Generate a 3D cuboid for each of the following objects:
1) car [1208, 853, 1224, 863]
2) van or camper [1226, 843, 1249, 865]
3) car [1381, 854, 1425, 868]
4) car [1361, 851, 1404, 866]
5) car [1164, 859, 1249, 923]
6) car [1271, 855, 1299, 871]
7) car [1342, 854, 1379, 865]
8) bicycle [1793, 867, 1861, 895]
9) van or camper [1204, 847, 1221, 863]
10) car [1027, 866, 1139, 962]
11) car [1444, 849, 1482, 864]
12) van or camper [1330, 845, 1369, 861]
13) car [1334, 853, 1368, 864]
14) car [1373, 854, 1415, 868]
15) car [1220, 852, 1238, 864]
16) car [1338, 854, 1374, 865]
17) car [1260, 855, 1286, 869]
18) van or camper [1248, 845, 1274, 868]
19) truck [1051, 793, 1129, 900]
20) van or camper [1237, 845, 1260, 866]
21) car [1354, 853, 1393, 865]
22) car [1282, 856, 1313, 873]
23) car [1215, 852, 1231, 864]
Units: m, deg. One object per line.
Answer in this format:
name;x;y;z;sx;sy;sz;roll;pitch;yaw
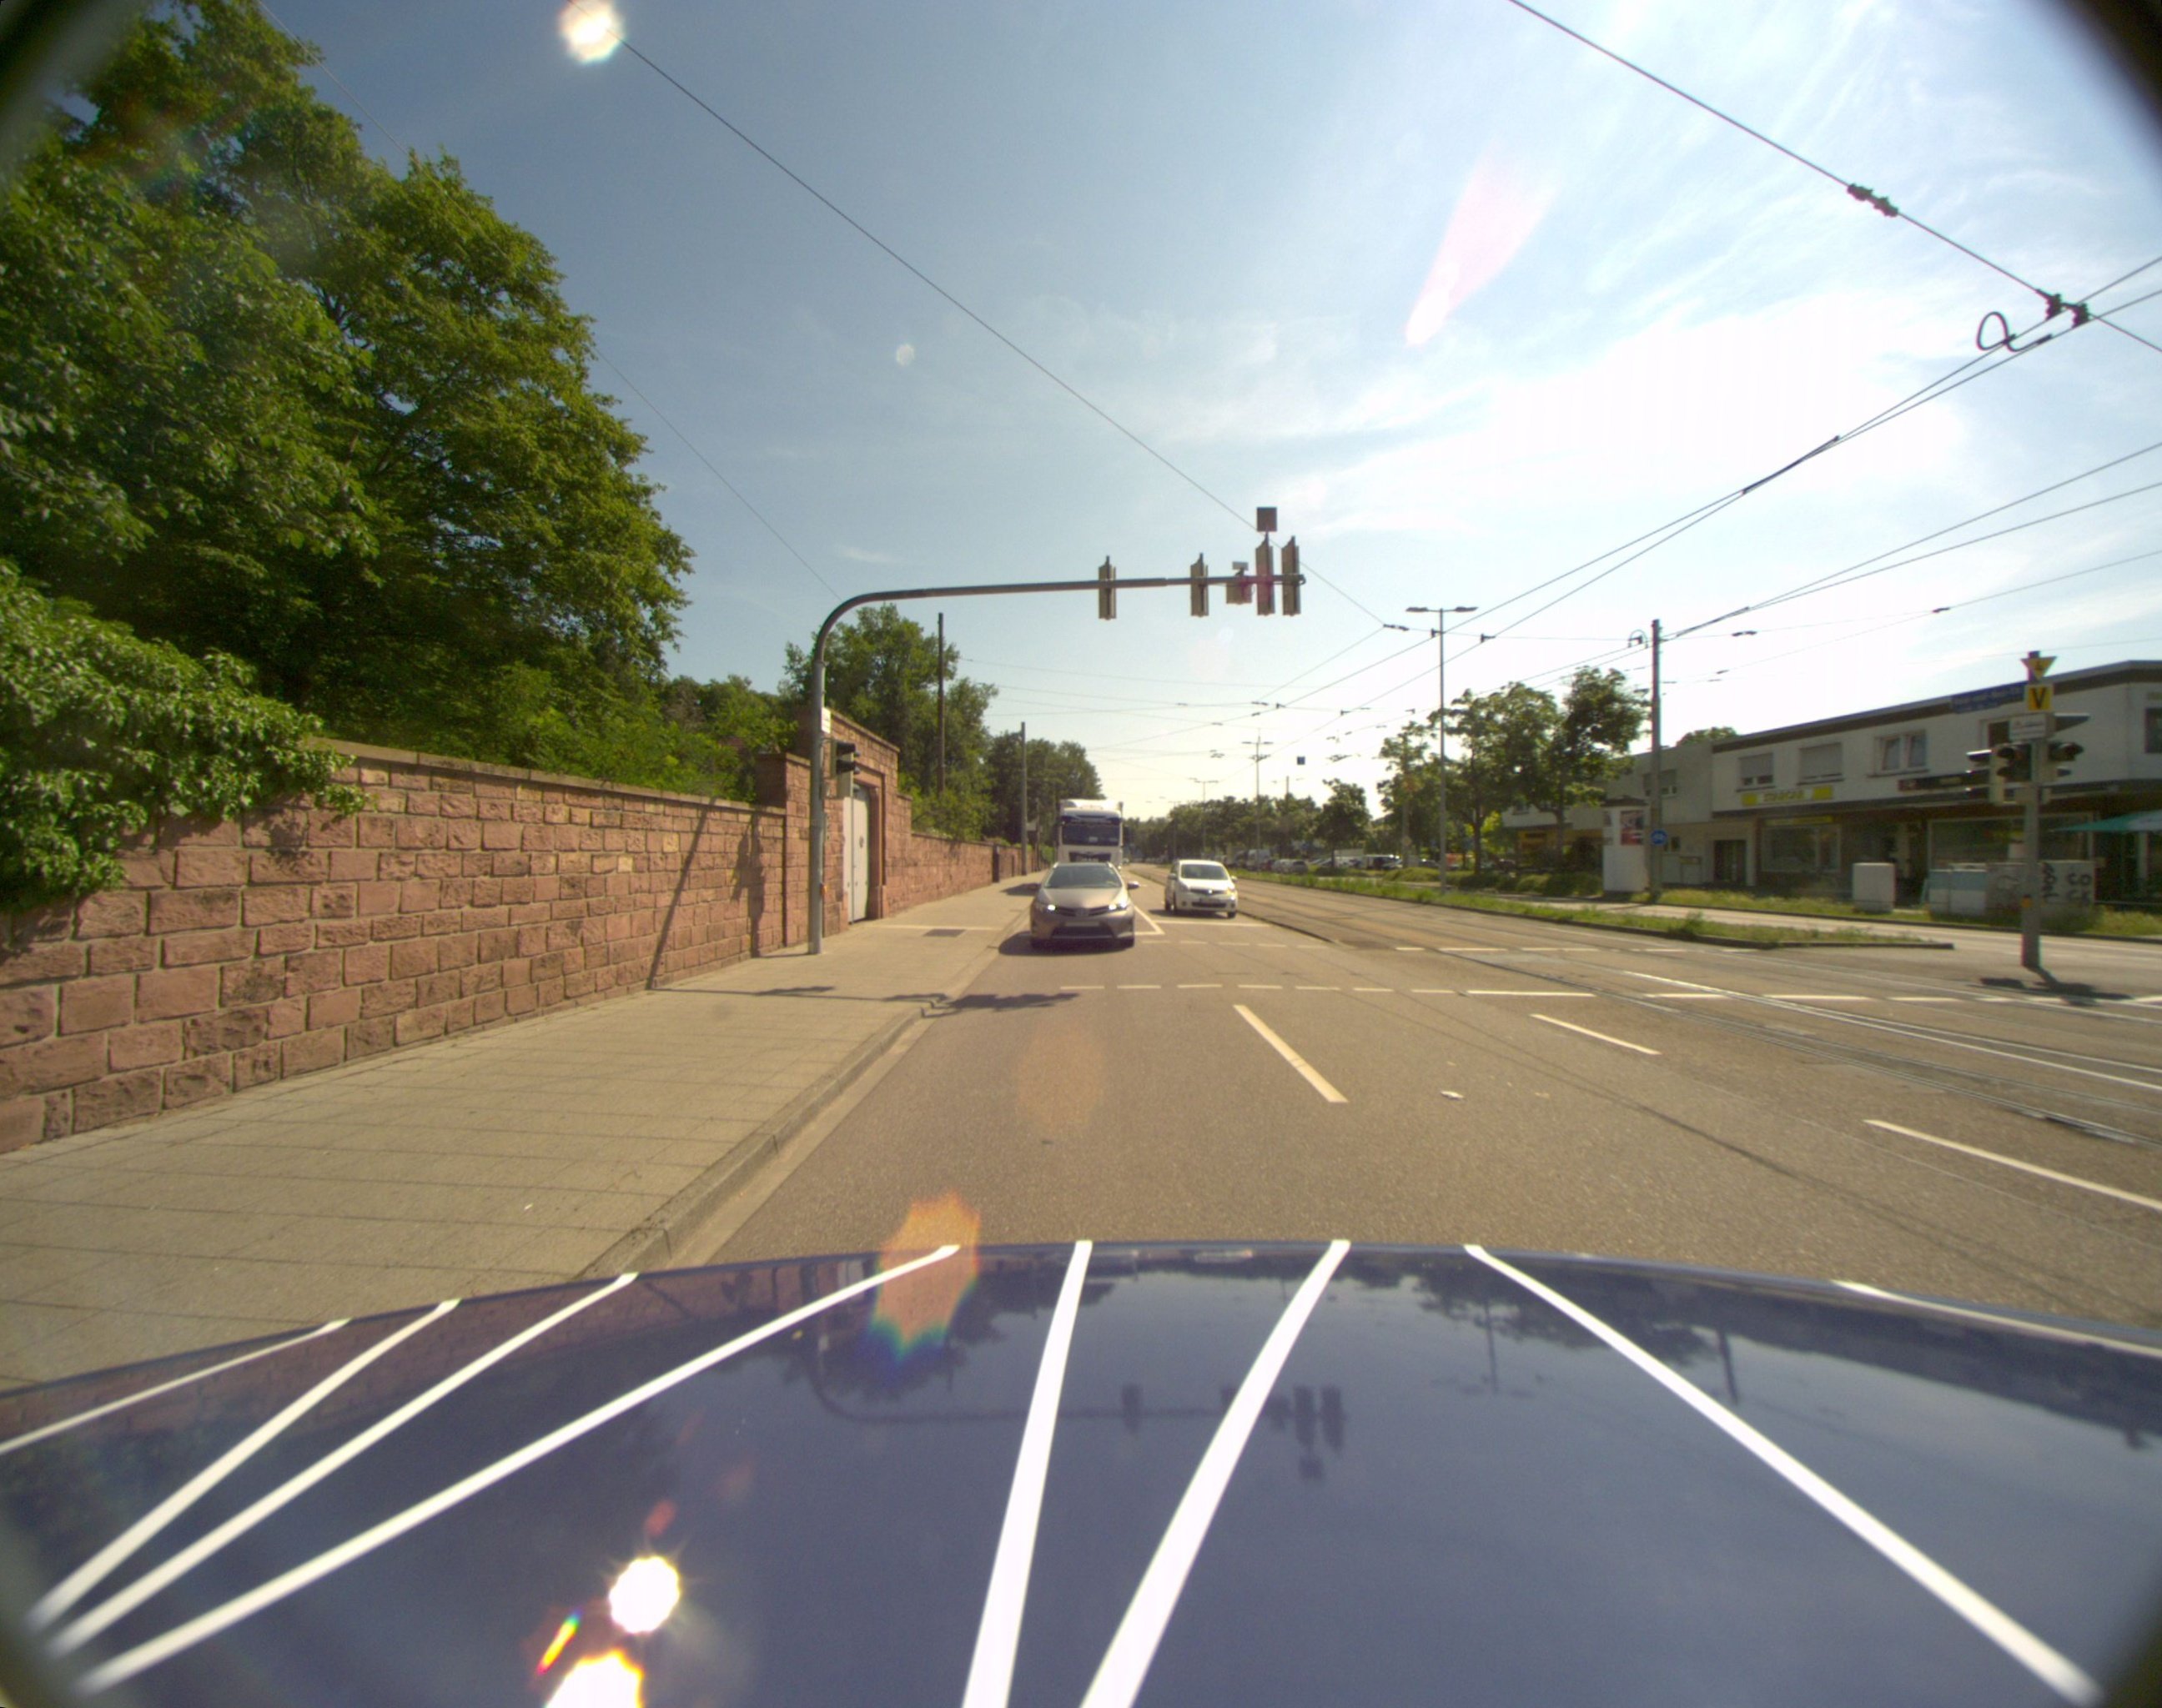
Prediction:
car;22.548;0.648;127.085;1.892;1.551;4.232;0;0;1
van or camper;21.735;-0.015;105.866;2.128;2.967;5.281;0;0;1
car;31.551;0.711;74.469;3.624;1.353;1.712;0;0;0
car;31.586;0.492;79.680;3.749;1.560;1.951;0;0;0
car;3.430;0.949;21.399;1.770;1.552;4.067;1;0;1
car;21.439;0.937;80.020;1.892;1.551;4.285;0;0;1
car;32.204;0.664;87.591;3.624;1.274;1.812;0;0;0
bicycle;28.423;1.007;28.990;0.760;0.977;1.911;0;0;1
van or camper;23.134;0.140;134.012;2.114;2.604;5.452;1;1;1
car;0.091;0.970;14.057;1.742;1.424;4.462;0;0;1
car;44.827;0.281;89.265;3.624;1.767;1.712;0;0;0
van or camper;46.650;-0.130;132.125;6.081;2.714;2.300;0;0;3
car;32.973;0.547;92.835;3.624;1.274;1.712;0;0;0
car;31.797;0.696;77.210;3.624;1.353;1.712;0;0;0
car;22.281;0.630;114.473;1.892;1.724;4.232;0;0;1
car;32.621;0.654;90.184;3.624;1.274;1.712;0;0;0
car;21.655;0.905;85.857;1.892;1.486;4.232;0;0;1
van or camper;21.527;0.268;90.919;2.040;2.617;4.840;0;0;1
truck;0.445;-0.271;32.509;2.746;3.852;9.111;2;0;1
van or camper;21.557;0.215;97.975;2.040;2.617;4.840;0;0;1
car;31.536;0.557;82.007;3.624;1.277;1.712;0;0;0
car;21.312;0.988;74.975;1.892;1.486;4.286;-3;0;2
car;22.634;0.615;121.406;1.892;1.757;4.232;0;0;1
